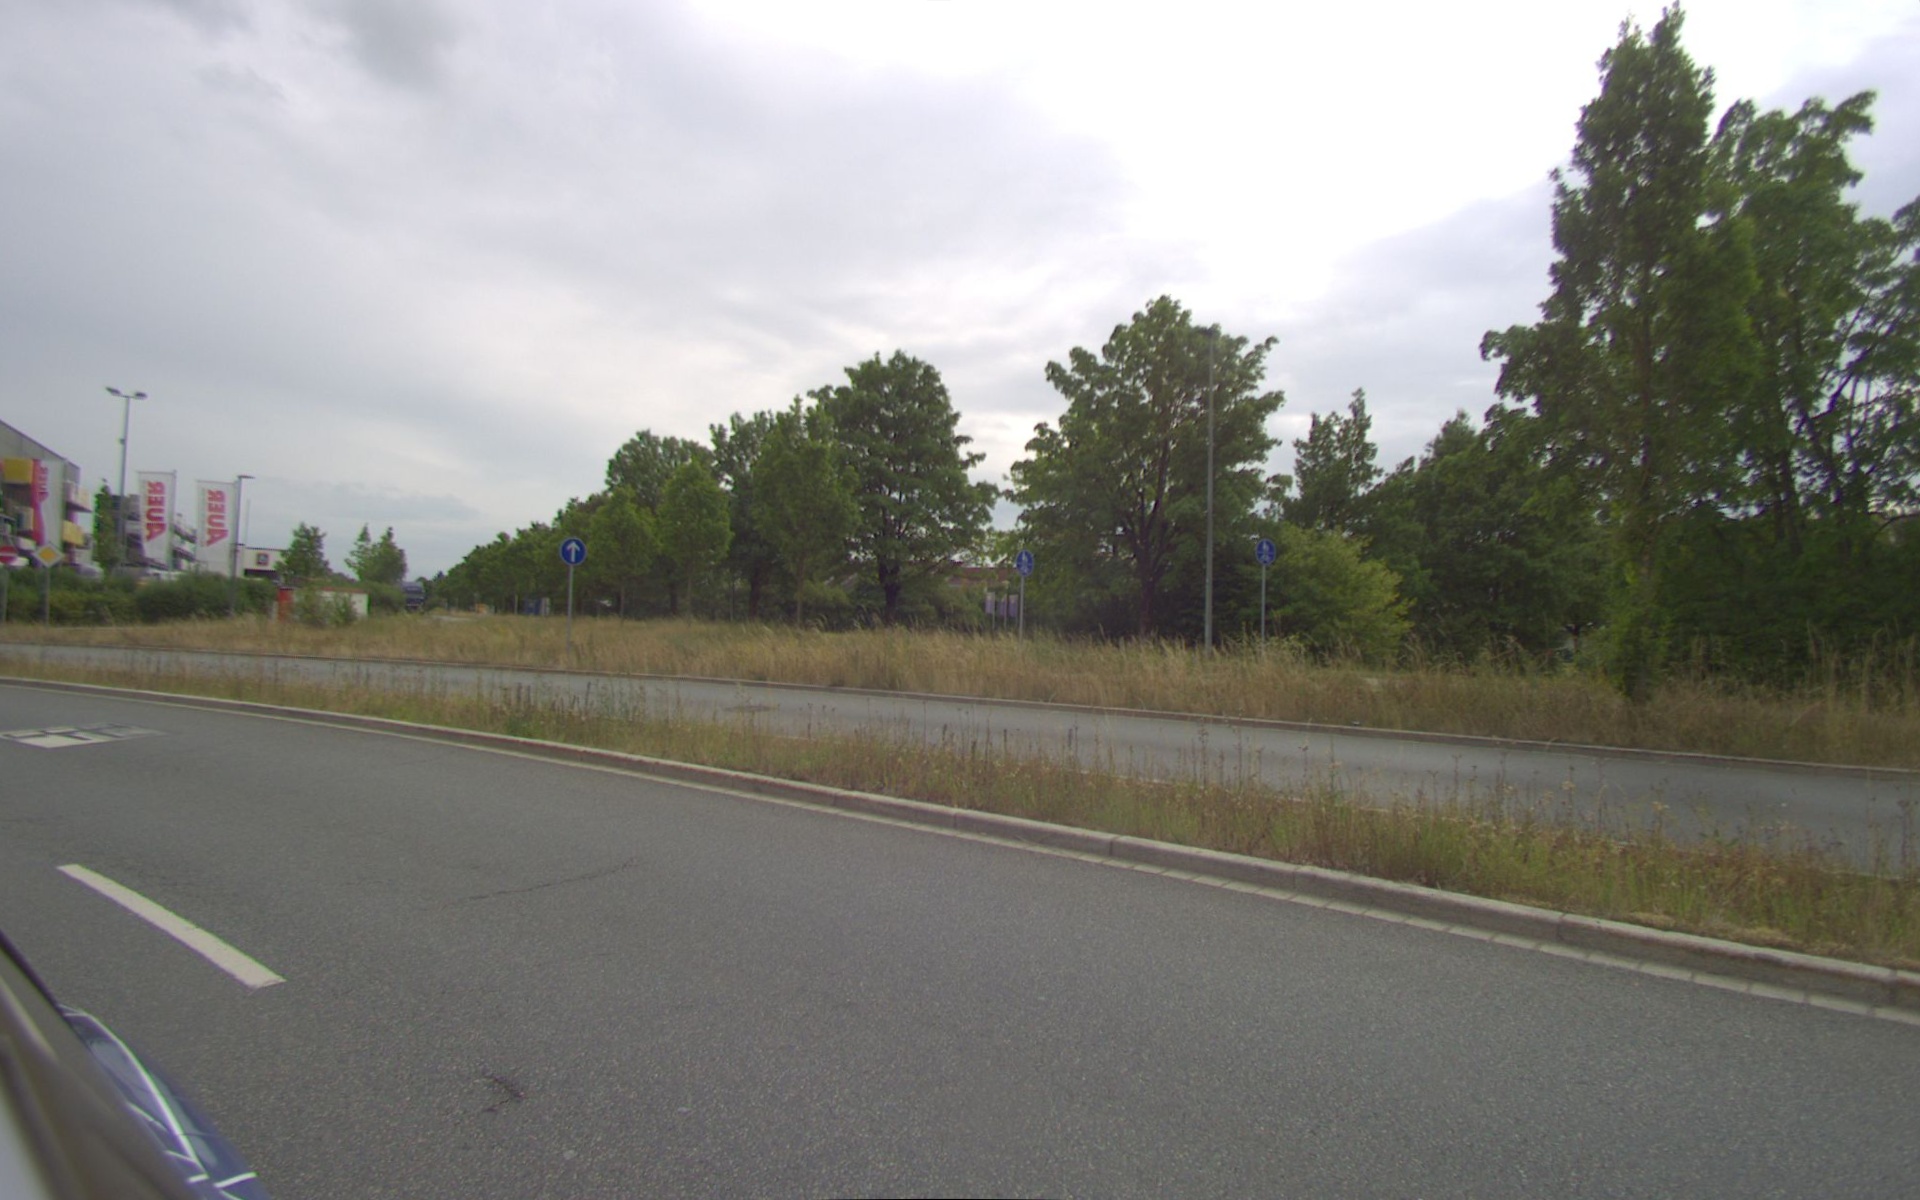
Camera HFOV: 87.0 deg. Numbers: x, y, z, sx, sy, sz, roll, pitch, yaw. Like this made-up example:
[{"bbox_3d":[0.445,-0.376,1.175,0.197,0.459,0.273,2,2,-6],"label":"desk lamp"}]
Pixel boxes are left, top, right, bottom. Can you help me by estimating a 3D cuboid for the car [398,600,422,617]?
[{"bbox_3d":[-63.800,0.963,117.347,1.967,1.763,4.010,4,-5,-35],"label":"car"}]
